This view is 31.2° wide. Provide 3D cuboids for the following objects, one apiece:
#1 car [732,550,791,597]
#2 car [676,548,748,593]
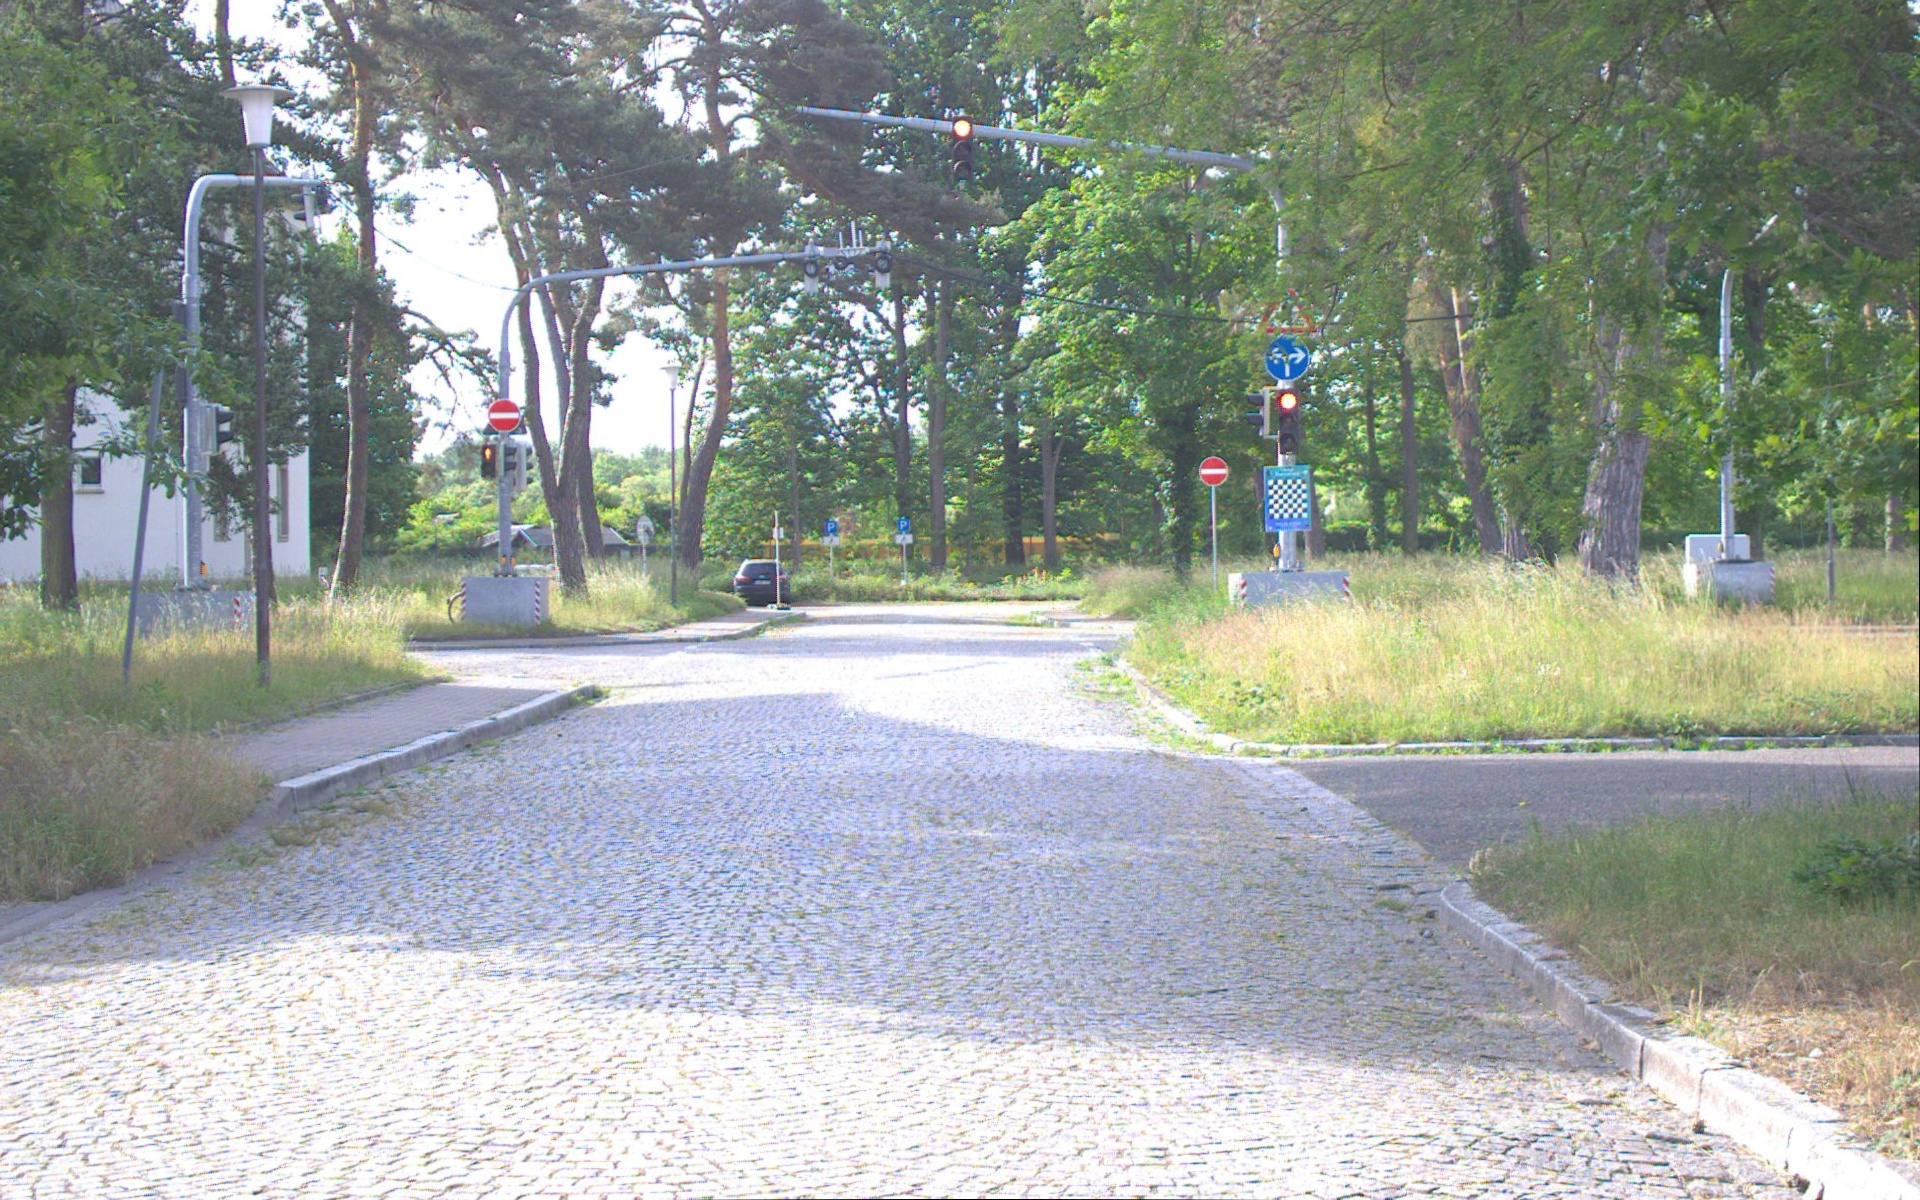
[{"bbox_3d":[-6.515,-0.884,113.015,1.845,1.481,4.001,-1,1,-2],"label":"car"},{"bbox_3d":[-8.481,-1.024,117.791,1.783,1.485,3.754,0,1,7],"label":"car"}]
